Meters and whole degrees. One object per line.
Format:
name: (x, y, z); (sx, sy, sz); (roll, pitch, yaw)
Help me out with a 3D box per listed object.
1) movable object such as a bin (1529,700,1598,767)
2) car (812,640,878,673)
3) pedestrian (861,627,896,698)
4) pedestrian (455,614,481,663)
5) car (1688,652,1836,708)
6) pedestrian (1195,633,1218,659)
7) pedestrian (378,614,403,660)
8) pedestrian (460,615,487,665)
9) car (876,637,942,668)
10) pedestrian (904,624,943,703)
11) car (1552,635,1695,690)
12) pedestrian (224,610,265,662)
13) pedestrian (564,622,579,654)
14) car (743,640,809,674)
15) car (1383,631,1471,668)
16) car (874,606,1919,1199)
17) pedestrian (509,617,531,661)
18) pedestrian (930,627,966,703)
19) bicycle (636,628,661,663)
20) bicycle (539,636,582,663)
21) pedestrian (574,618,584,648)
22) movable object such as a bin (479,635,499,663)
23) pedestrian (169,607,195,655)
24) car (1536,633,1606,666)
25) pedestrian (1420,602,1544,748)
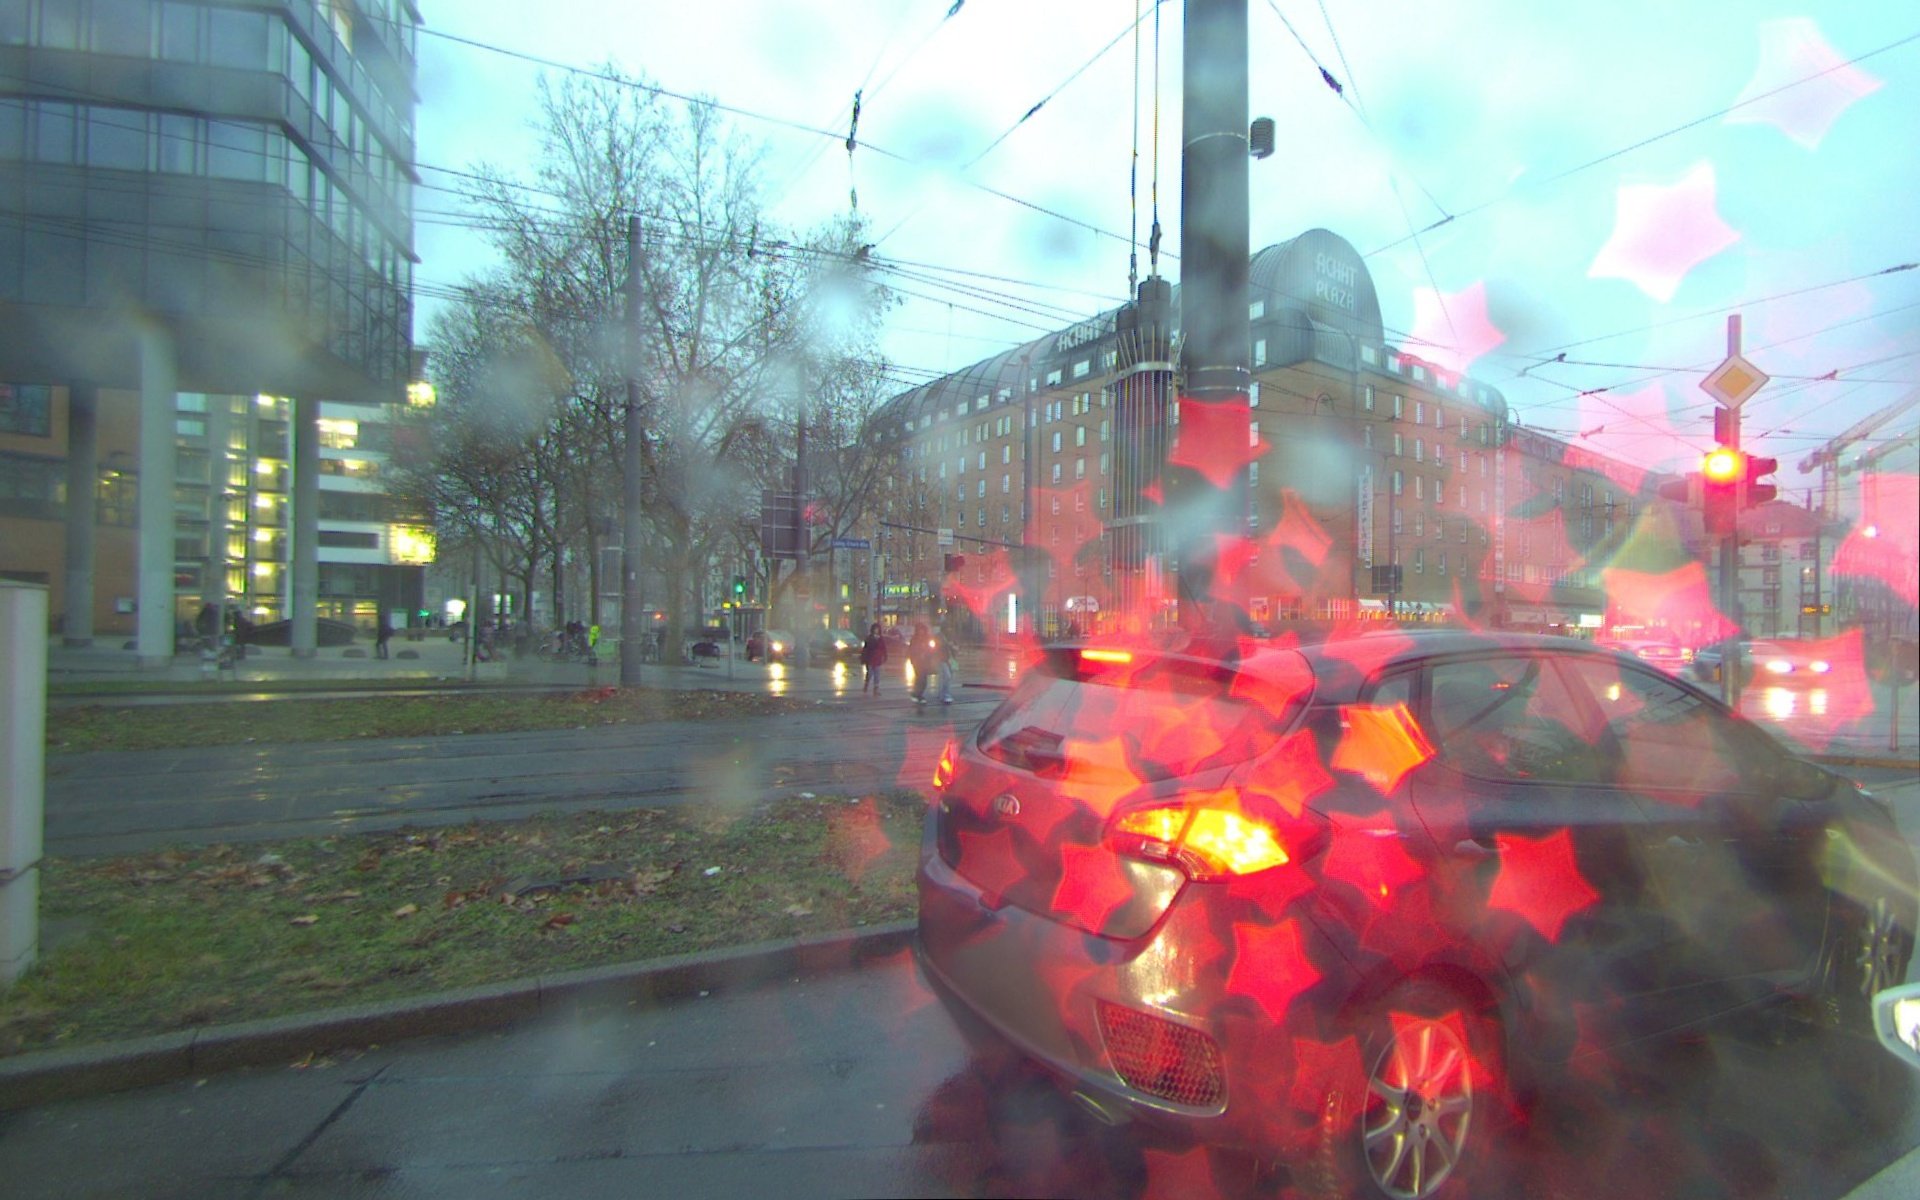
movable object such as a bin: (6.814, 1.501, 11.360); (0.527, 0.708, 0.413); (1, -3, 1)
car: (-5.819, 2.809, 50.627); (1.975, 1.483, 3.970); (1, -2, -28)
pedestrian: (-1.764, 1.340, 21.773); (0.724, 1.519, 0.676); (1, -1, -4)
pedestrian: (-18.570, 1.438, 37.913); (0.778, 1.828, 0.868); (1, -1, -22)
car: (27.225, 2.665, 34.356); (2.208, 1.628, 5.006); (0, -2, 16)
pedestrian: (16.322, 3.039, 66.524); (1.149, 1.700, 0.894); (-1, -2, 42)
pedestrian: (-21.831, 1.418, 38.518); (0.776, 1.734, 0.650); (1, -2, -32)
pedestrian: (-17.741, 1.445, 36.641); (0.811, 1.797, 0.568); (1, -2, -29)
car: (-2.713, 2.709, 52.574); (1.975, 1.483, 3.970); (1, -2, -28)
pedestrian: (-0.735, 1.244, 19.900); (0.635, 1.532, 0.560); (1, -1, -18)
car: (19.366, 1.779, 29.534); (1.677, 1.467, 4.002); (0, -2, 3)
pedestrian: (-24.329, 1.231, 34.182); (0.772, 1.734, 1.008); (1, -2, -15)
pedestrian: (-19.255, 1.888, 49.782); (0.637, 1.577, 0.765); (1, -1, -22)
car: (-8.754, 2.654, 47.545); (1.975, 1.483, 3.970); (1, -2, -28)
car: (19.799, 2.086, 42.748); (1.672, 1.478, 3.753); (1, -2, -8)
car: (1.793, 0.808, 3.661); (3.895, 1.543, 1.622); (0, -1, -30)
pedestrian: (-18.464, 1.630, 42.138); (0.719, 1.840, 0.773); (1, -1, -30)
pedestrian: (-0.247, 1.310, 20.484); (0.604, 1.532, 0.519); (1, -1, -18)
bicycle: (-12.269, 1.783, 39.538); (0.624, 1.336, 2.296); (1, -2, -25)
bicycle: (-16.364, 2.020, 41.167); (1.564, 1.088, 0.451); (1, -2, -20)
pedestrian: (-26.004, 2.224, 68.520); (0.568, 2.040, 0.583); (1, -2, -16)
movable object such as a bin: (-17.889, 1.866, 38.156); (0.637, 1.048, 0.572); (1, -1, -23)
pedestrian: (-26.622, 1.062, 34.390); (0.670, 1.629, 0.449); (1, -2, -38)
car: (30.740, 2.459, 50.675); (1.960, 1.572, 4.080); (0, -2, 15)
pedestrian: (5.994, 0.860, 11.581); (1.018, 1.621, 0.715); (1, -3, -9)
